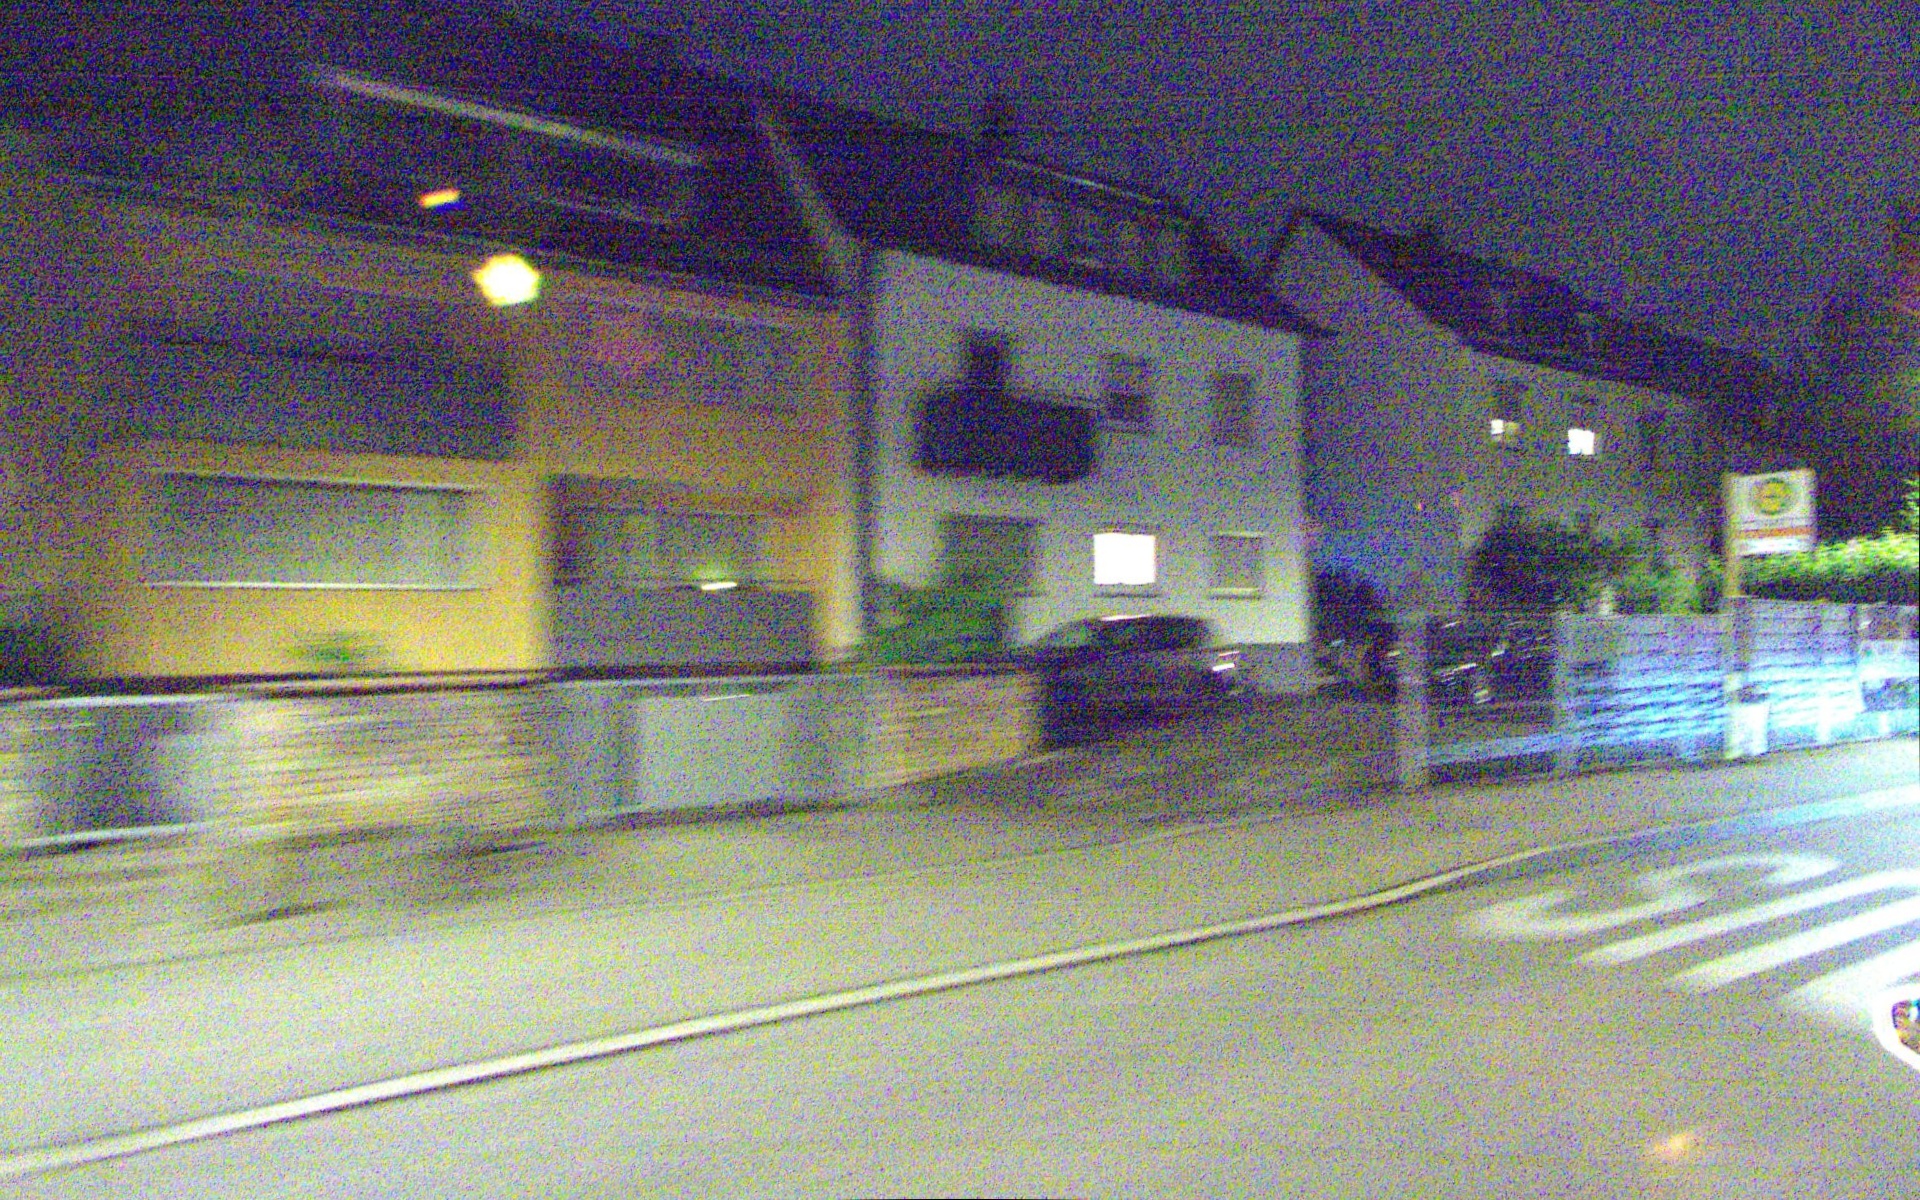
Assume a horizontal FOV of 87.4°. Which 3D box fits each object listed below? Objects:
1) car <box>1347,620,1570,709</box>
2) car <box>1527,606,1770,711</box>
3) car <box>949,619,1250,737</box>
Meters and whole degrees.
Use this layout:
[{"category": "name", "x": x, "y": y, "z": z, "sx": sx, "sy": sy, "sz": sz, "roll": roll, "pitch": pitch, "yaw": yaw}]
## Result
[{"category": "car", "x": 9.264, "y": 1.130, "z": 18.624, "sx": 3.952, "sy": 1.446, "sz": 1.840, "roll": 1, "pitch": 0, "yaw": -30}, {"category": "car", "x": 11.109, "y": 0.866, "z": 16.152, "sx": 3.960, "sy": 1.458, "sz": 1.962, "roll": 1, "pitch": 0, "yaw": -35}, {"category": "car", "x": 2.029, "y": 1.030, "z": 14.438, "sx": 4.068, "sy": 1.478, "sz": 1.720, "roll": 1, "pitch": -1, "yaw": -27}]
